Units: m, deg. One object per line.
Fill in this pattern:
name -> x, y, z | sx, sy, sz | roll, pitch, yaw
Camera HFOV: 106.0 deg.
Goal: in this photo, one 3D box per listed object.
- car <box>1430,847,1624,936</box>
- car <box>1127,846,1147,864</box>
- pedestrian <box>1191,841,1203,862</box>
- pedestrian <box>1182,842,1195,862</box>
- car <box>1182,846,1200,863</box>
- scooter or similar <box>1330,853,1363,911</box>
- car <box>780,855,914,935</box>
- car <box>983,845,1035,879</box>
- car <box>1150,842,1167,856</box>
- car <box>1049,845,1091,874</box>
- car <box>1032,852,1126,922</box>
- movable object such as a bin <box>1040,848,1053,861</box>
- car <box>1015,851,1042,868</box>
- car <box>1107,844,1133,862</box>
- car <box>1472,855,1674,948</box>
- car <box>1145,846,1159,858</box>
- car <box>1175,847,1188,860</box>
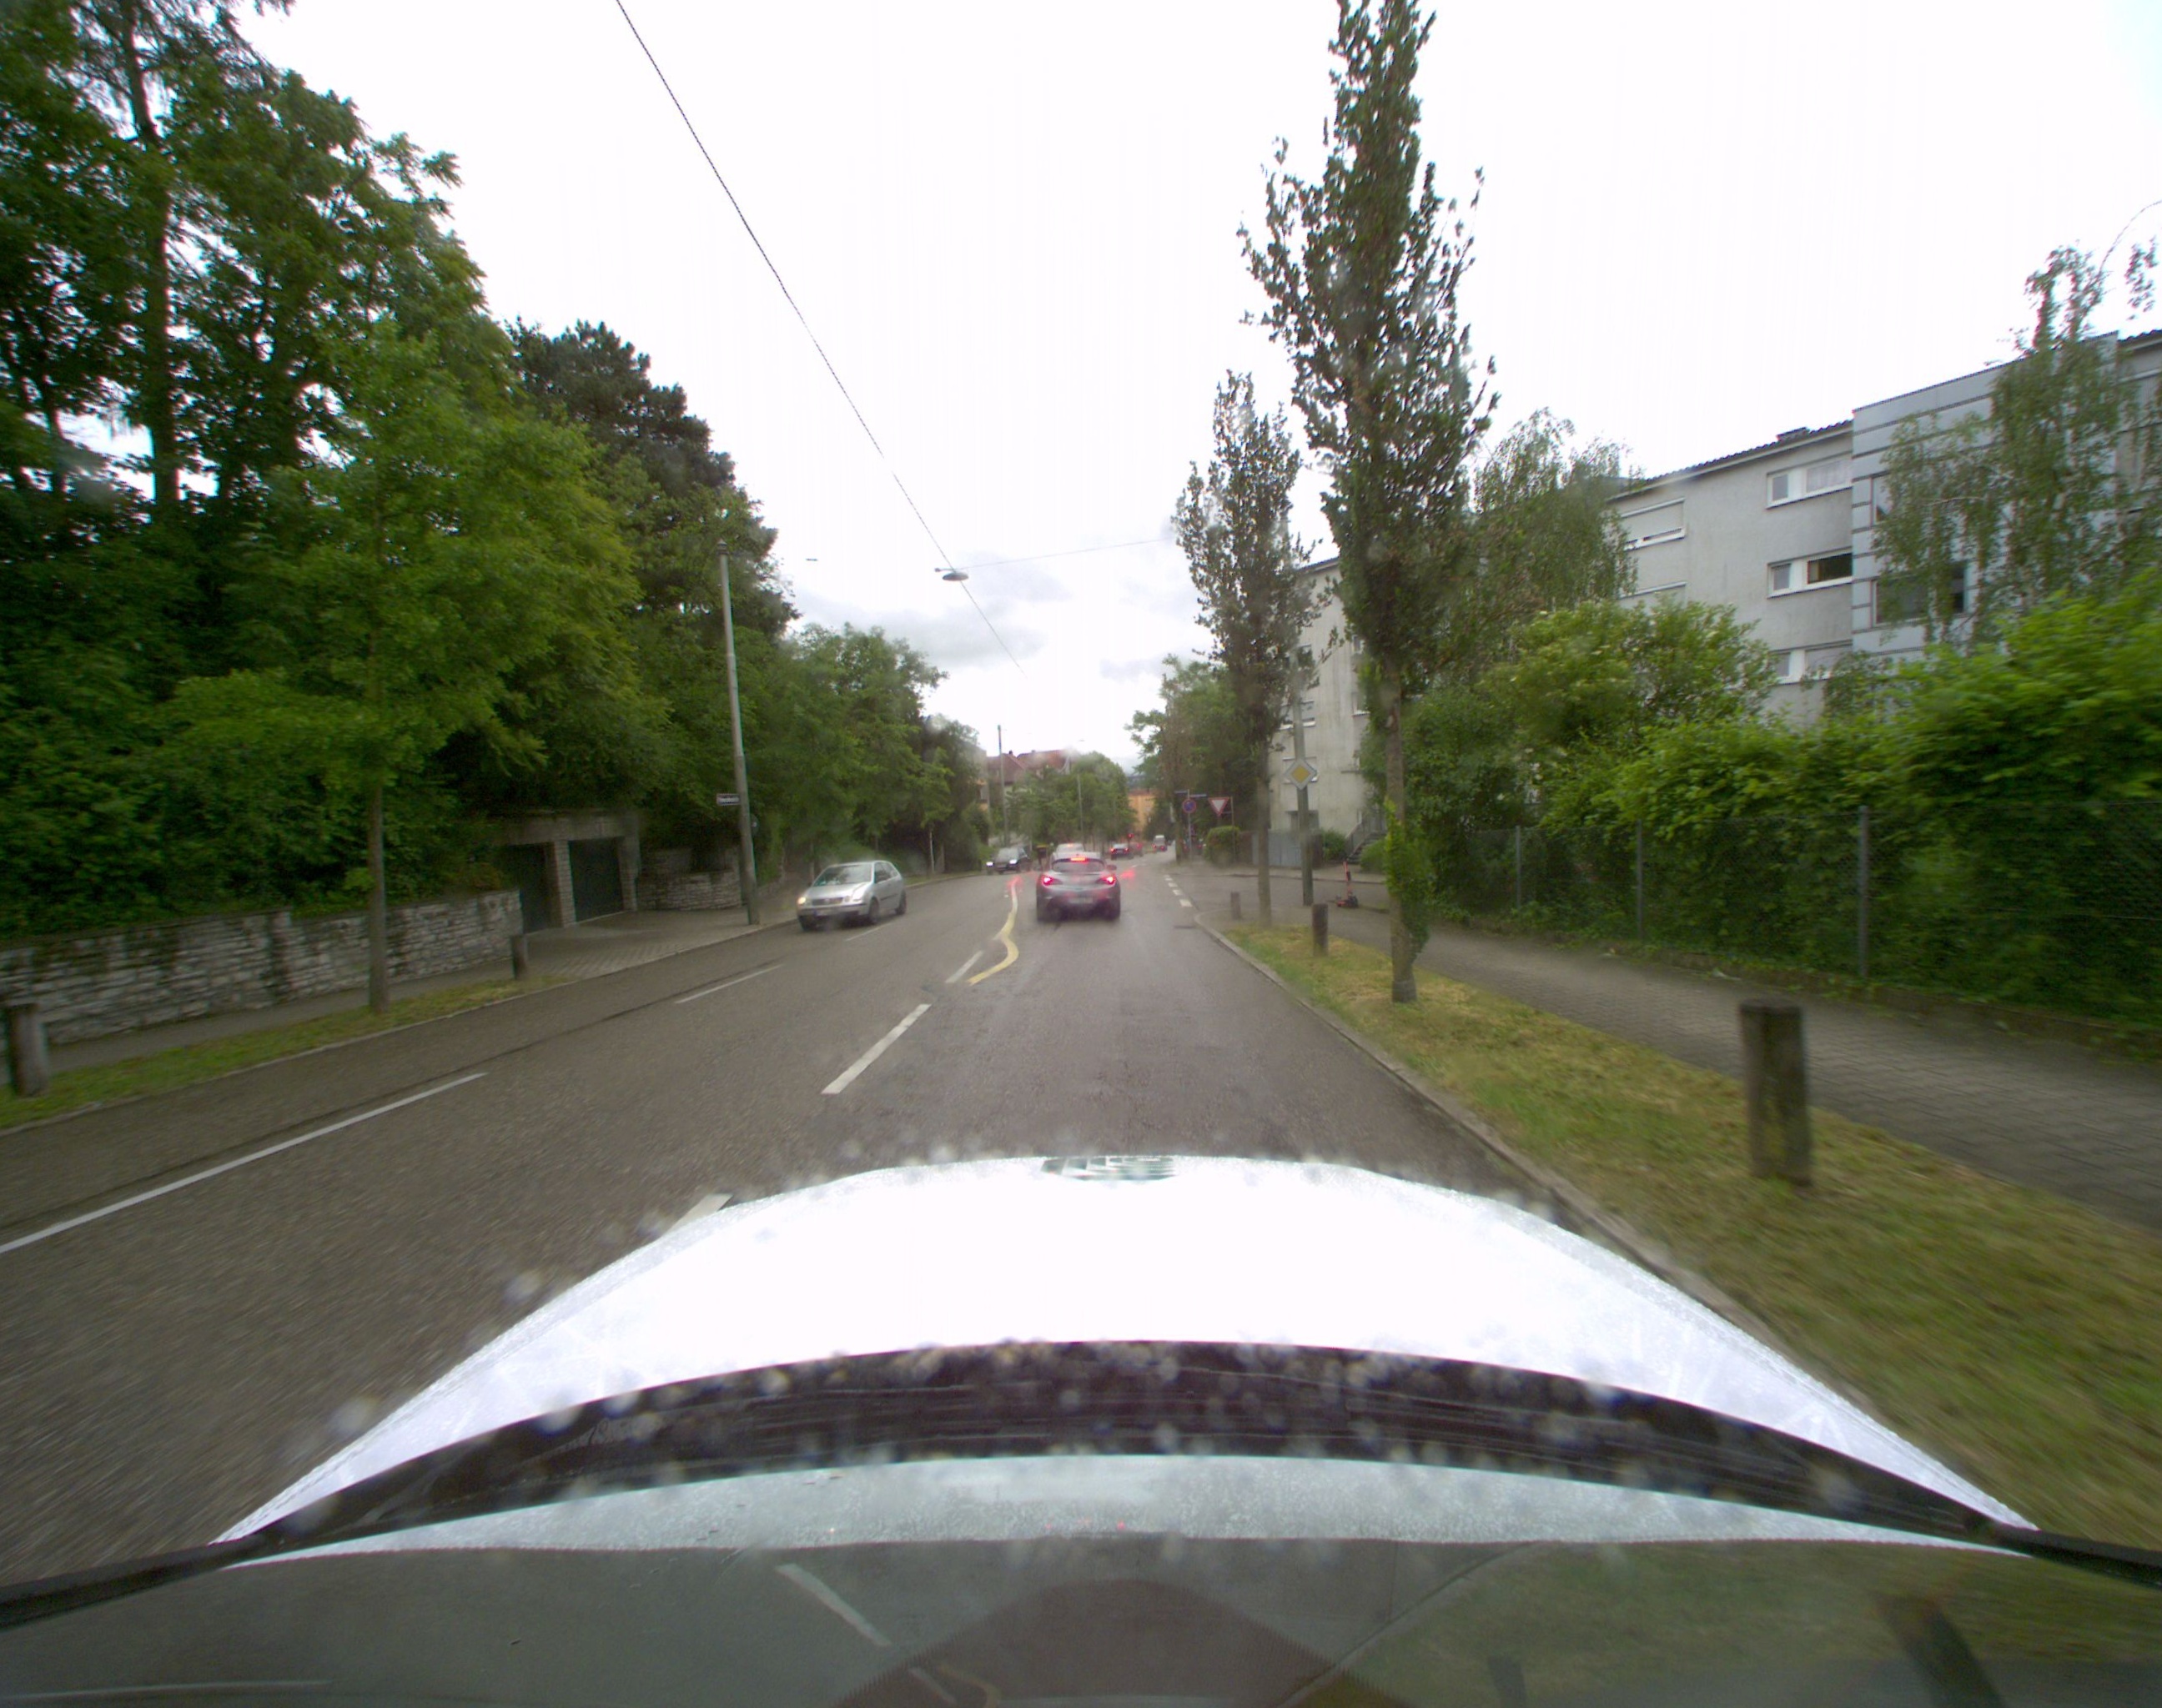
car -> 8.272, 0.611, 15.521 | 1.499, 1.435, 4.000 | 1, 1, 0
car -> 5.727, 0.101, 82.599 | 1.759, 1.781, 3.985 | 0, 1, 7
pedestrian -> 10.413, -0.203, 73.024 | 0.665, 1.836, 0.685 | -5, 0, -17
pedestrian -> 9.647, -0.139, 72.865 | 0.736, 1.723, 0.761 | -5, 0, -17
car -> 10.173, 0.043, 75.352 | 1.495, 1.435, 4.008 | -4, -1, 7
scooter or similar -> 6.010, 0.620, 18.496 | 0.341, 1.254, 1.267 | 0, -1, 0
car -> -5.384, 0.872, 19.283 | 1.757, 1.486, 3.805 | -5, 1, 3
car -> -3.850, 0.417, 44.239 | 1.903, 1.585, 4.592 | -6, 0, 4
car -> 12.154, -0.766, 127.032 | 2.320, 2.036, 4.747 | 0, 1, 9
car -> -0.500, 0.255, 40.618 | 1.790, 1.323, 4.004 | -2, 0, 3
car -> 0.020, 0.698, 18.824 | 1.938, 1.432, 3.885 | 0, 0, 1
movable object such as a bin -> -3.784, 0.098, 89.803 | 1.265, 1.387, 0.490 | -2, 1, 6
car -> -4.936, 0.505, 77.384 | 1.733, 1.456, 3.891 | -7, -1, 6
car -> 3.347, -0.105, 69.934 | 1.950, 1.472, 3.959 | 0, 1, 7
car -> 11.119, 0.974, 18.564 | 1.654, 1.521, 3.529 | -4, 7, -41
car -> 9.481, -0.246, 108.796 | 1.745, 1.651, 4.008 | 0, 0, 7
car -> 16.763, -0.082, 135.189 | 1.982, 2.036, 4.747 | 0, 1, 9
